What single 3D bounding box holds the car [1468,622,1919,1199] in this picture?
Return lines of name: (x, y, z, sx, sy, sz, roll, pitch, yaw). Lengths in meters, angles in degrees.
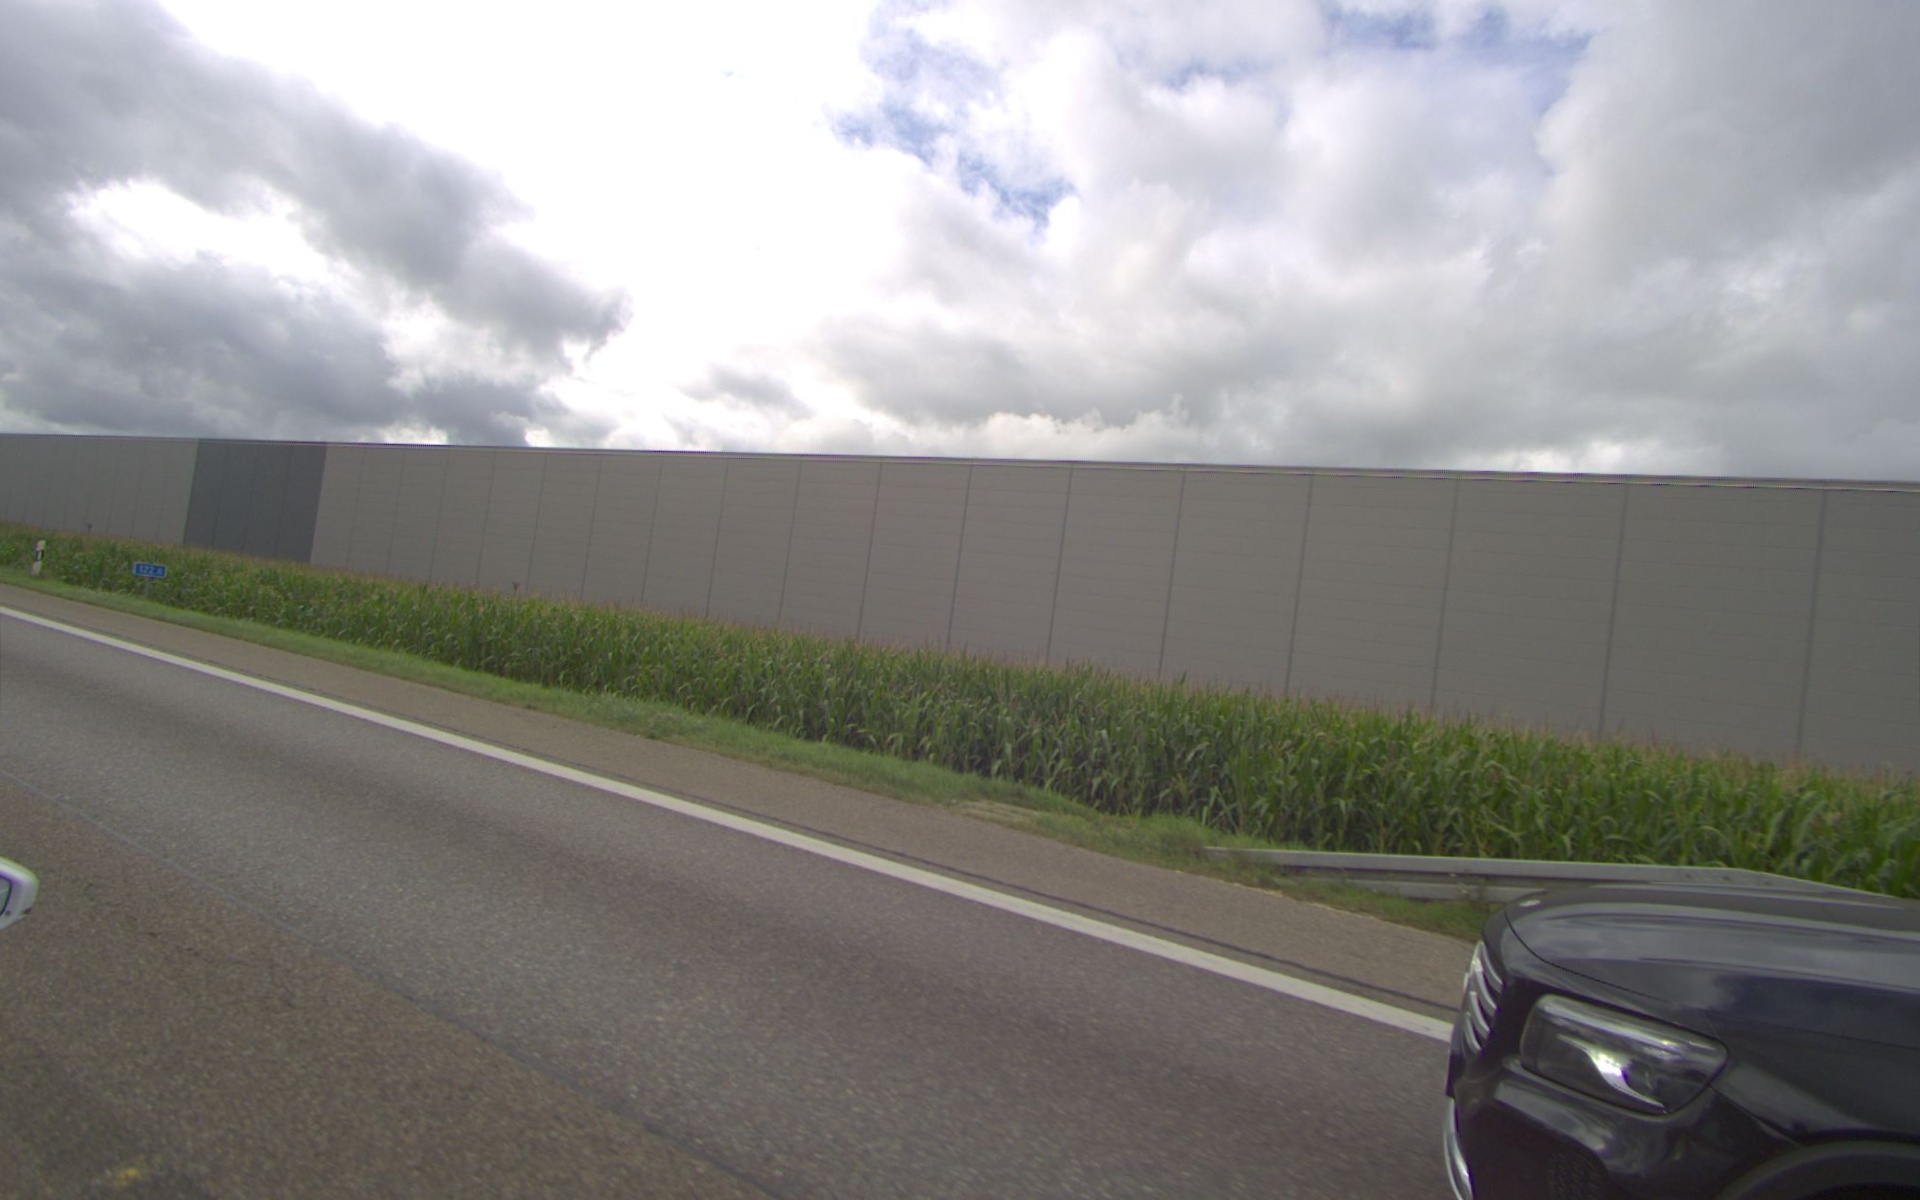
car: (3.354, 1.132, 1.687, 4.289, 1.628, 1.836, 6, -1, 32)
